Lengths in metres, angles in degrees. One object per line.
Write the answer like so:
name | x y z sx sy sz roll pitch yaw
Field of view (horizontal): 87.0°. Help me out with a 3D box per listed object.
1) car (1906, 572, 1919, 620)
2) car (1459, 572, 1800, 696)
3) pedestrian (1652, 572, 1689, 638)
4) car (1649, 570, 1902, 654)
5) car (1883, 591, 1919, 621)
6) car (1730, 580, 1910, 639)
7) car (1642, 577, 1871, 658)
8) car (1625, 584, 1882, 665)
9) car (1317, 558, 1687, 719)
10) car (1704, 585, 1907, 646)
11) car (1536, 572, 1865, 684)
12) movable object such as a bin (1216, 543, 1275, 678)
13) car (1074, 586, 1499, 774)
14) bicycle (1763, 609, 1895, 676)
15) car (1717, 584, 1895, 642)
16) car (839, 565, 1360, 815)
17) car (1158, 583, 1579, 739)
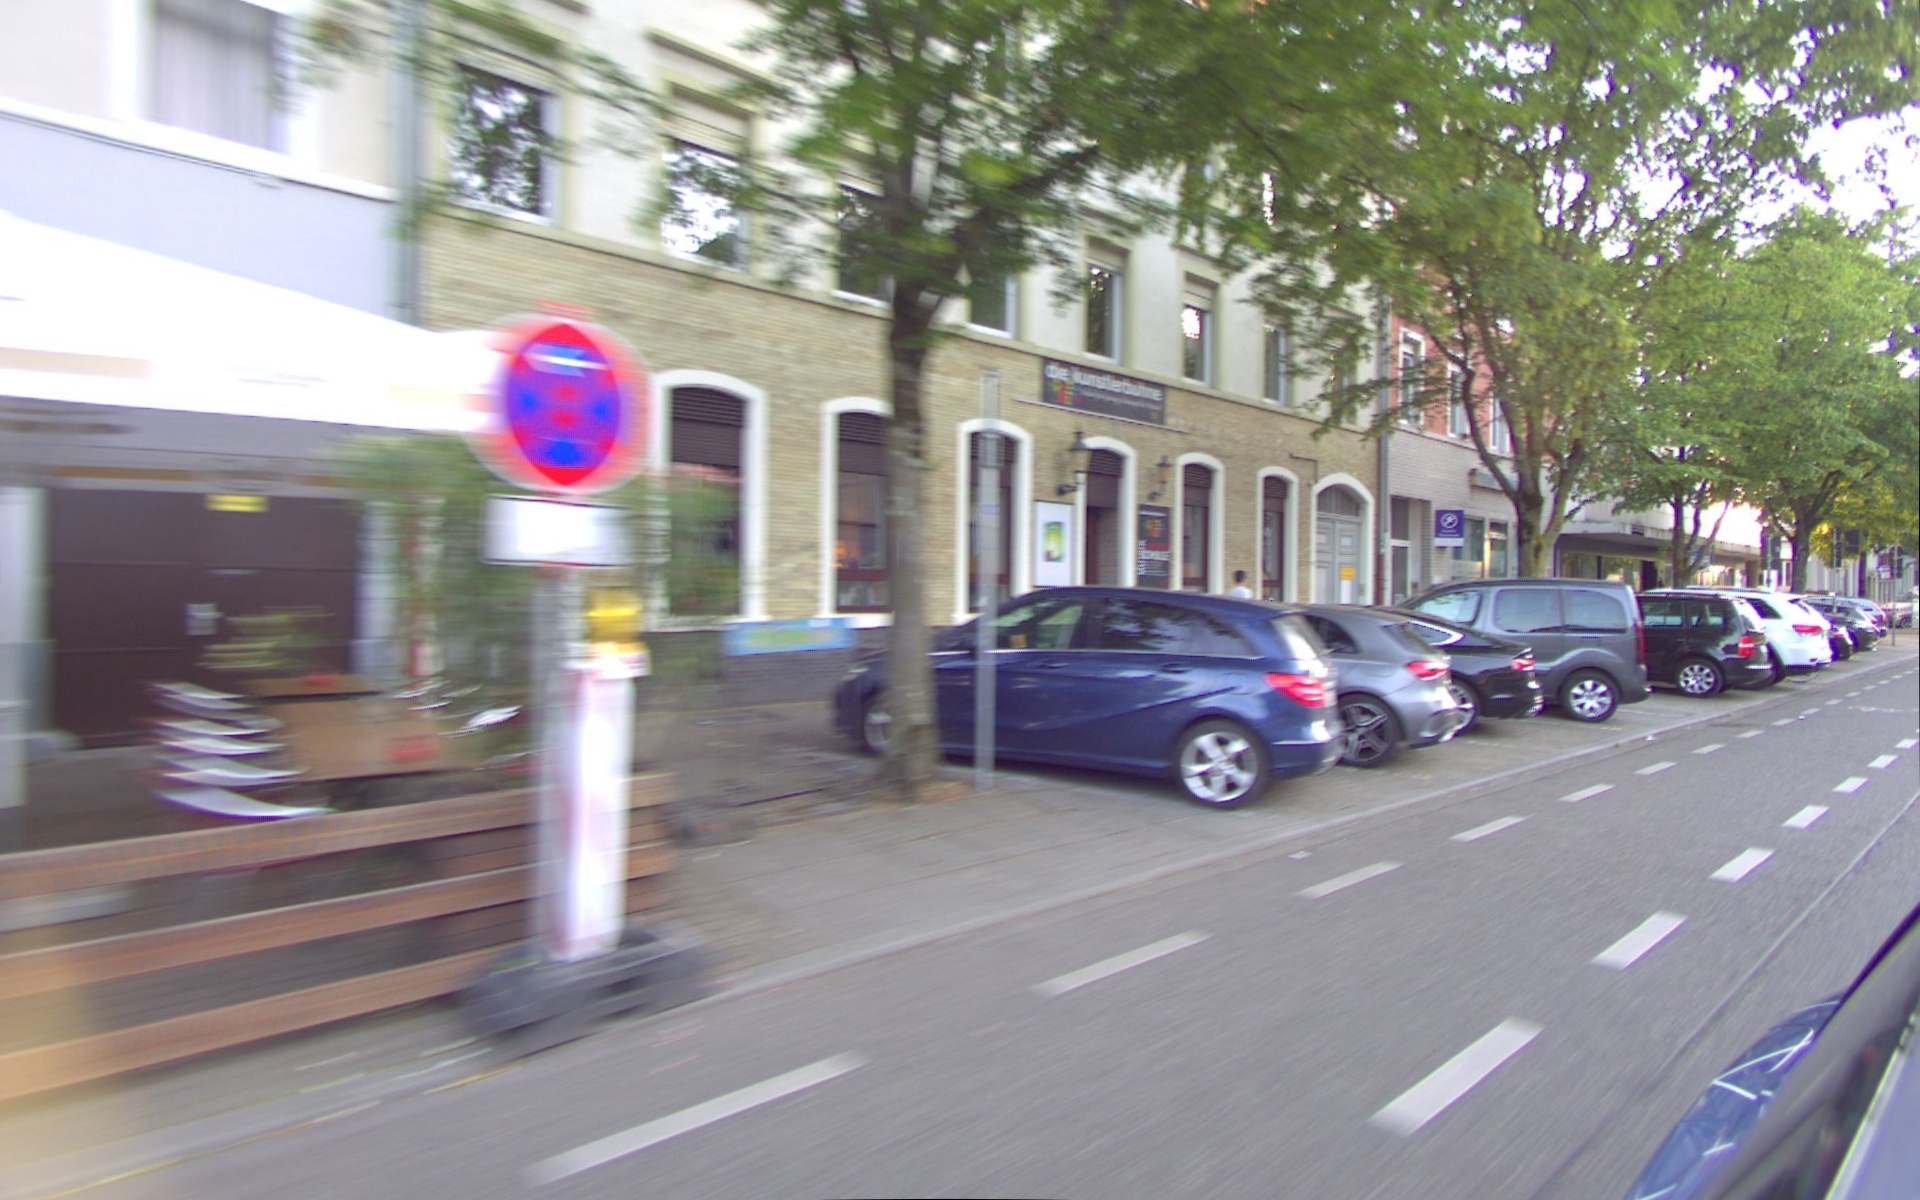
car | 57.021 -0.205 56.606 5.559 2.728 2.161 1 0 15
car | 11.562 0.473 17.714 4.652 1.708 1.976 4 3 45
pedestrian | 22.293 0.159 31.749 0.772 2.009 0.693 0 2 -41
car | 21.679 0.249 27.251 4.943 1.849 2.183 4 3 32
car | 51.703 0.416 52.949 4.559 1.532 1.847 3 1 24
car | 28.772 0.280 34.019 4.109 1.684 1.834 3 2 15
car | 19.843 0.364 25.497 4.191 1.669 1.955 4 3 30
car | 18.192 0.501 23.487 4.177 1.444 1.962 5 3 22
car | 7.104 0.413 13.808 4.112 1.829 1.994 2 2 22
car | 24.900 0.405 30.004 4.120 1.483 1.957 4 2 22
car | 13.843 0.418 19.166 1.973 1.708 4.658 1 3 -41
movable object such as a bin | 4.433 0.154 15.703 0.683 2.039 0.614 0 0 -42
car | 3.201 0.647 10.067 3.751 1.425 1.689 3 2 29
bicycle | 16.597 0.788 19.386 1.831 1.116 0.491 5 2 36
car | 26.786 0.375 32.187 3.845 1.520 1.803 3 2 19
car | 1.136 0.556 8.371 3.932 1.572 1.692 3 2 25
car | 4.653 0.605 12.061 4.270 1.406 1.796 3 2 20
